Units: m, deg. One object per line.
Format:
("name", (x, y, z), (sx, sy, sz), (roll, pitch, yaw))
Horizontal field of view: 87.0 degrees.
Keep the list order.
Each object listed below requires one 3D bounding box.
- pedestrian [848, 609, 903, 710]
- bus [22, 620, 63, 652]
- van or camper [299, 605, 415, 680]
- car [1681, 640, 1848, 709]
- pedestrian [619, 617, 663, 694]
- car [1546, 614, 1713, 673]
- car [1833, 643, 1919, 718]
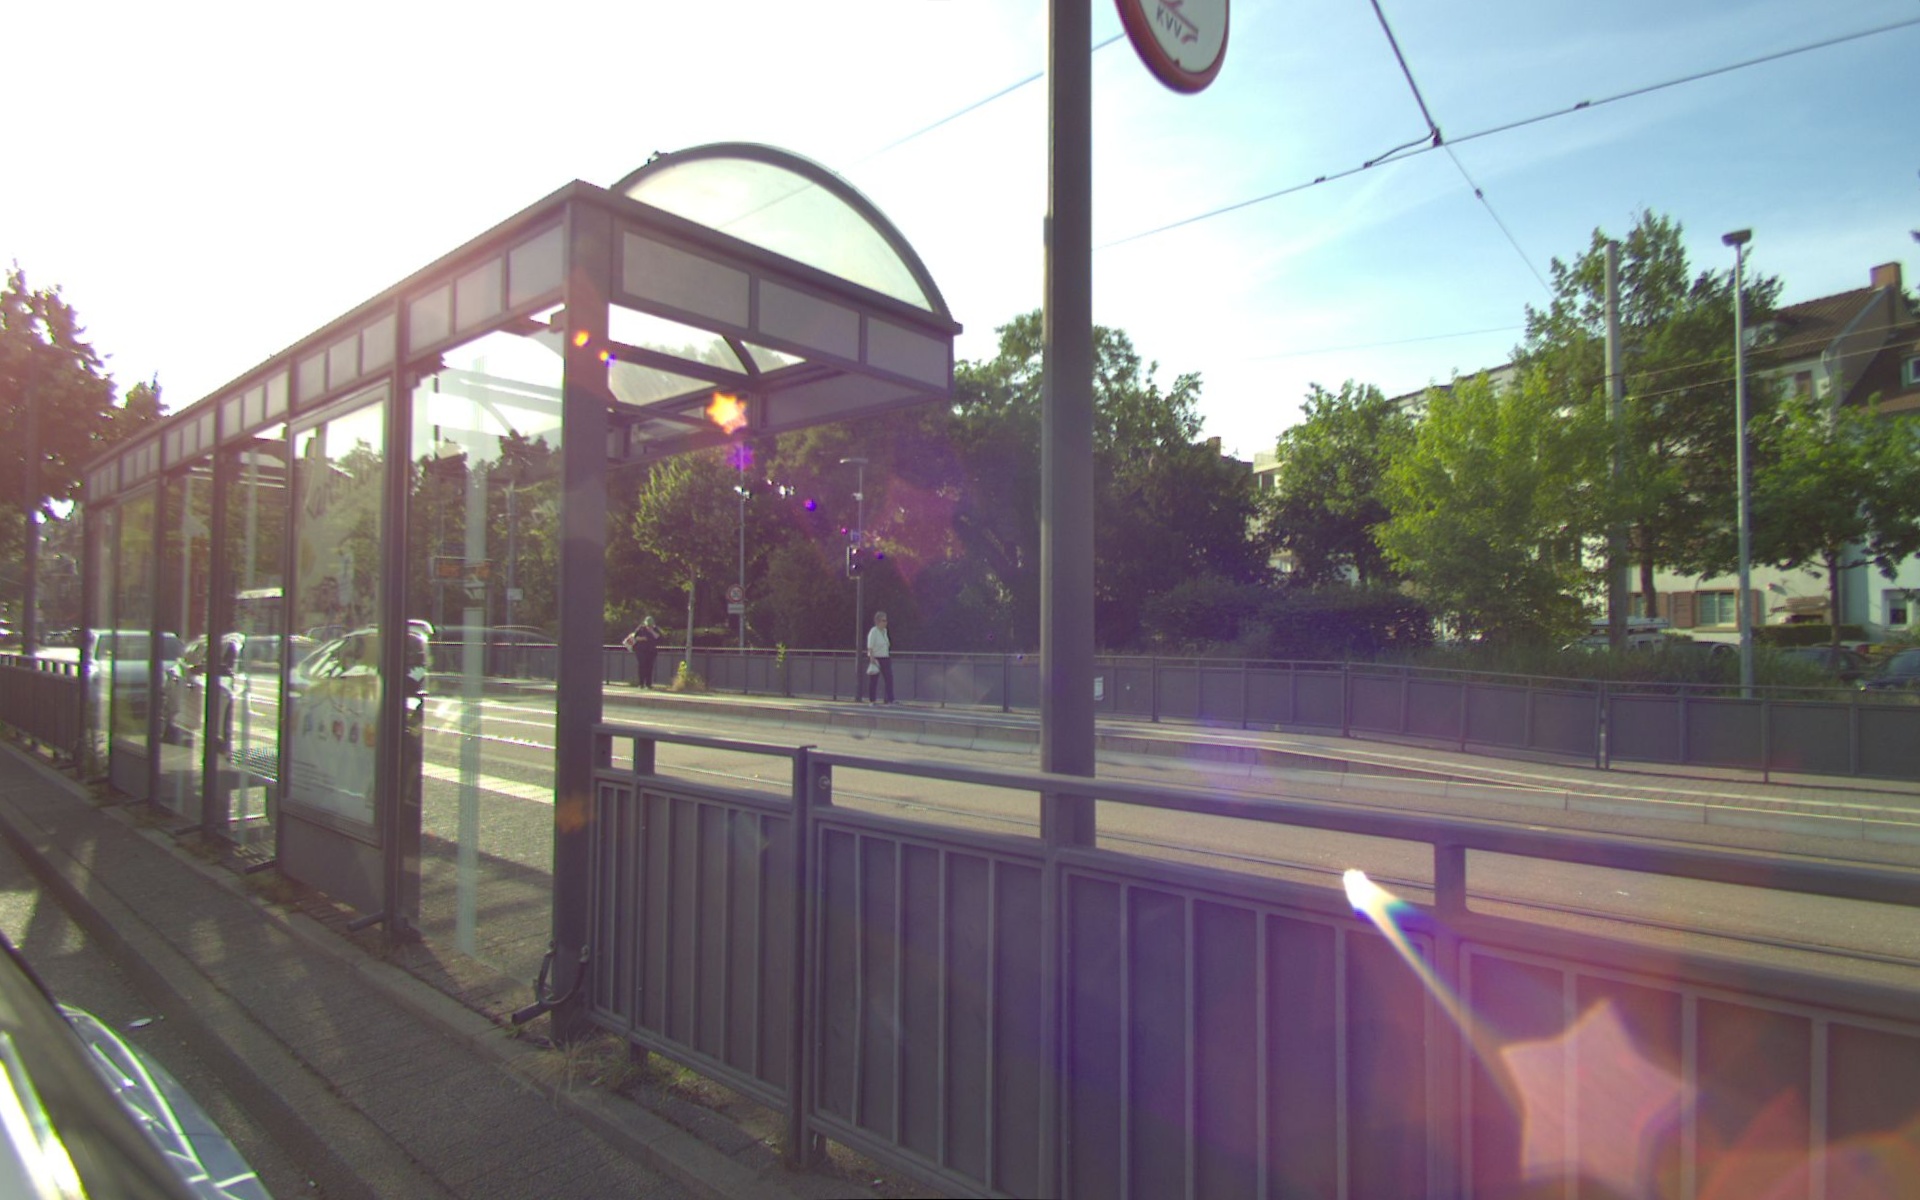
("pedestrian", (-1.453, 1.031, 17.477), (0.618, 1.697, 0.613), (-2, -6, 41))
("bus", (-102.690, 3.950, 113.229), (9.258, 3.461, 2.405), (-1, 0, 41))
("van or camper", (-26.224, 1.757, 43.903), (6.408, 2.990, 2.494), (-1, 0, 41))
("car", (18.178, 1.619, 22.835), (3.935, 1.409, 2.004), (2, -3, -37))
("pedestrian", (-7.222, 1.255, 22.905), (0.618, 1.697, 0.613), (-2, -6, 41))
("car", (18.149, 1.192, 27.457), (3.930, 1.497, 1.854), (1, -3, -22))
("car", (19.630, 1.596, 20.608), (3.935, 1.409, 2.004), (2, -3, -37))
